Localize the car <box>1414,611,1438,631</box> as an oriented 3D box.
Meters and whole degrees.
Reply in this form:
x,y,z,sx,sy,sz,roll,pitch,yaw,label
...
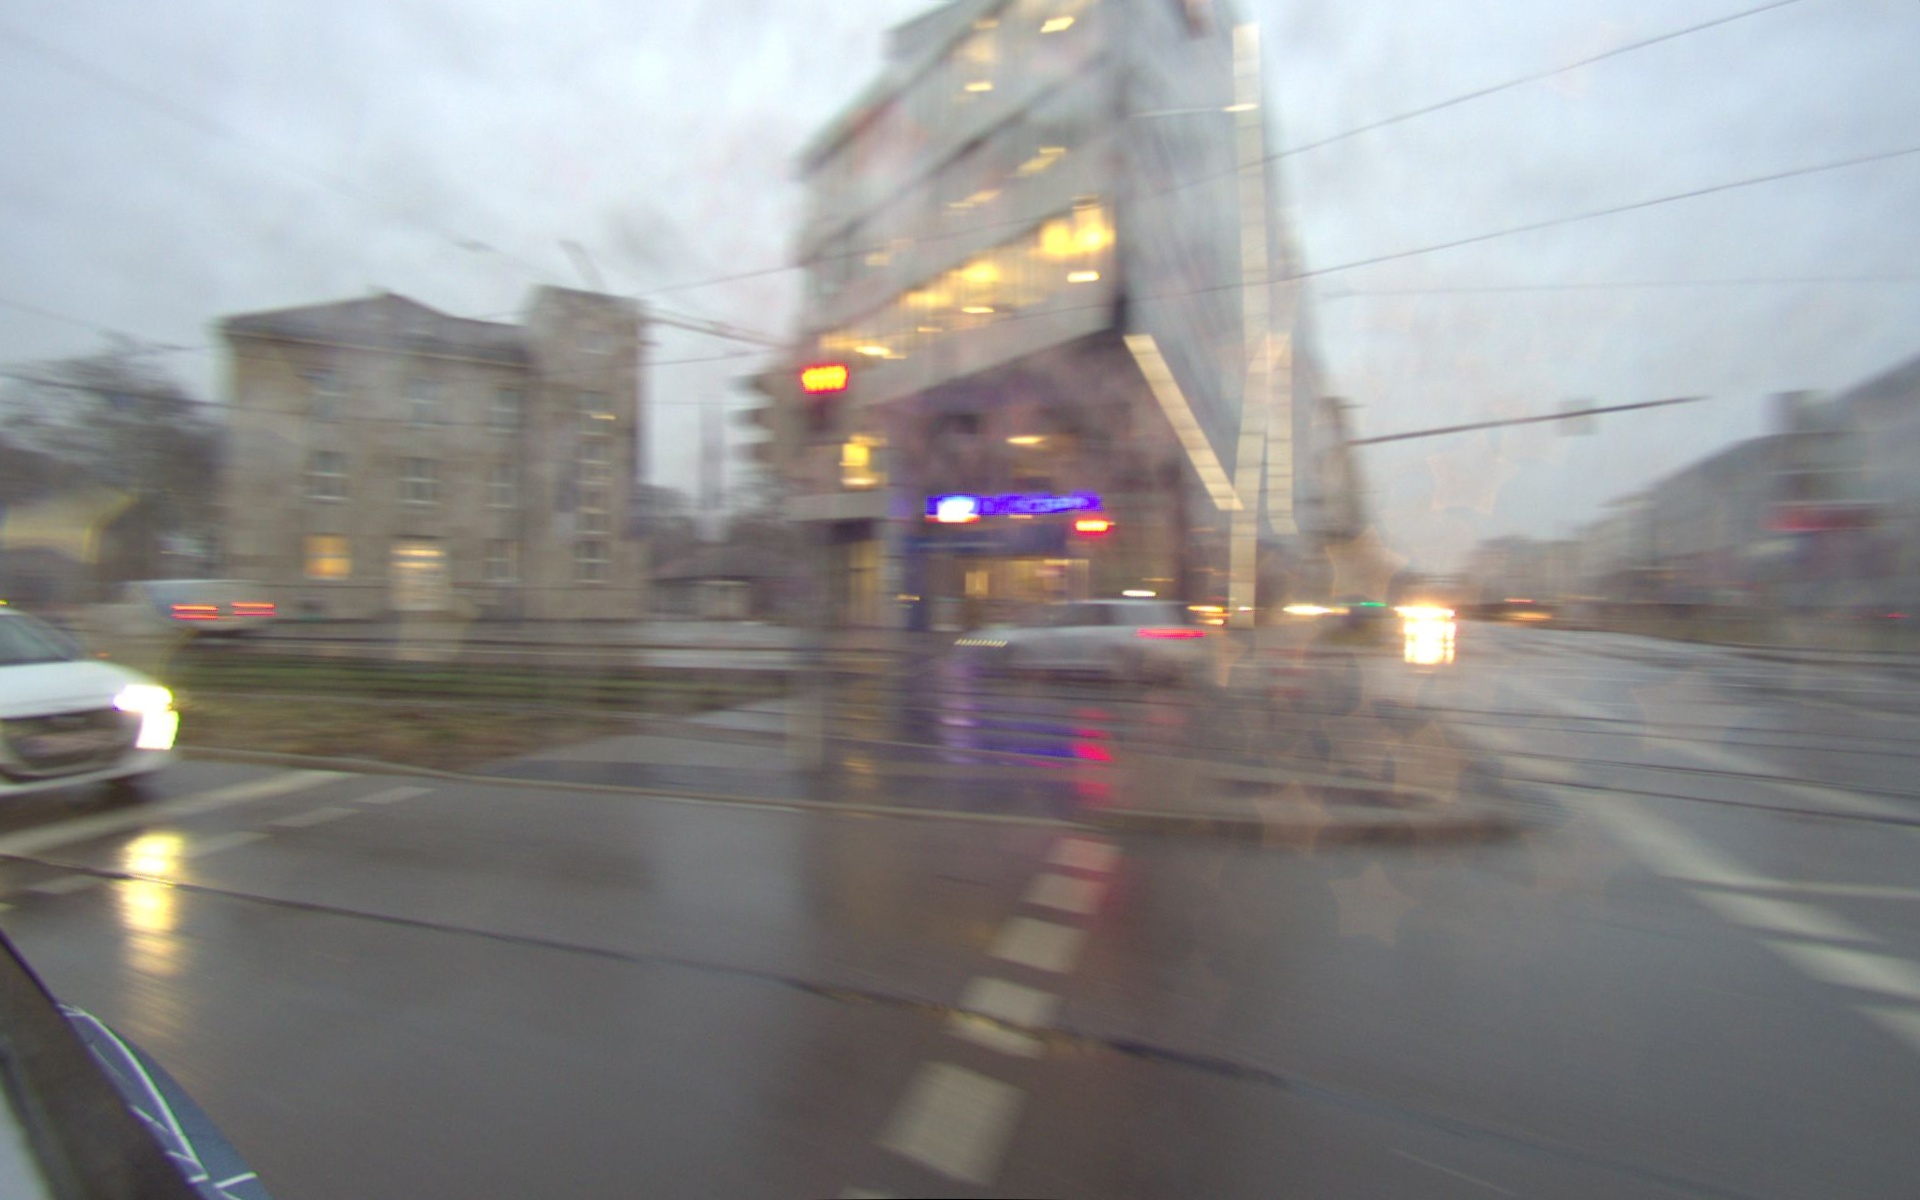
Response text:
x,y,z,sx,sy,sz,roll,pitch,yaw,label
40.060,1.782,87.084,1.823,1.674,3.968,0,0,23,car

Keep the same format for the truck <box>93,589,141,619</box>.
x,y,z,sx,sy,sz,roll,pitch,yaw,label
-60.118,0.266,72.224,1.807,2.060,4.013,0,-1,-28,truck

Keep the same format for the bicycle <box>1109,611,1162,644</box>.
x,y,z,sx,sy,sz,roll,pitch,yaw,label
5.760,0.898,33.219,1.592,1.078,0.637,-1,-1,25,bicycle

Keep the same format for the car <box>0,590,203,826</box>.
x,y,z,sx,sy,sz,roll,pitch,yaw,label
-7.781,0.684,7.412,3.888,1.474,1.752,0,1,20,car

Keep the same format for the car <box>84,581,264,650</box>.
x,y,z,sx,sy,sz,roll,pitch,yaw,label
-22.826,0.430,29.375,4.928,1.885,1.891,0,-1,22,car

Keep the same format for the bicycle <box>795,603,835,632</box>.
x,y,z,sx,sy,sz,roll,pitch,yaw,label
-5.774,0.702,40.242,1.472,1.136,0.530,0,-1,-29,bicycle

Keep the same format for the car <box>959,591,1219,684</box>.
x,y,z,sx,sy,sz,roll,pitch,yaw,label
2.298,0.614,18.330,4.326,1.497,1.846,0,-1,32,car
